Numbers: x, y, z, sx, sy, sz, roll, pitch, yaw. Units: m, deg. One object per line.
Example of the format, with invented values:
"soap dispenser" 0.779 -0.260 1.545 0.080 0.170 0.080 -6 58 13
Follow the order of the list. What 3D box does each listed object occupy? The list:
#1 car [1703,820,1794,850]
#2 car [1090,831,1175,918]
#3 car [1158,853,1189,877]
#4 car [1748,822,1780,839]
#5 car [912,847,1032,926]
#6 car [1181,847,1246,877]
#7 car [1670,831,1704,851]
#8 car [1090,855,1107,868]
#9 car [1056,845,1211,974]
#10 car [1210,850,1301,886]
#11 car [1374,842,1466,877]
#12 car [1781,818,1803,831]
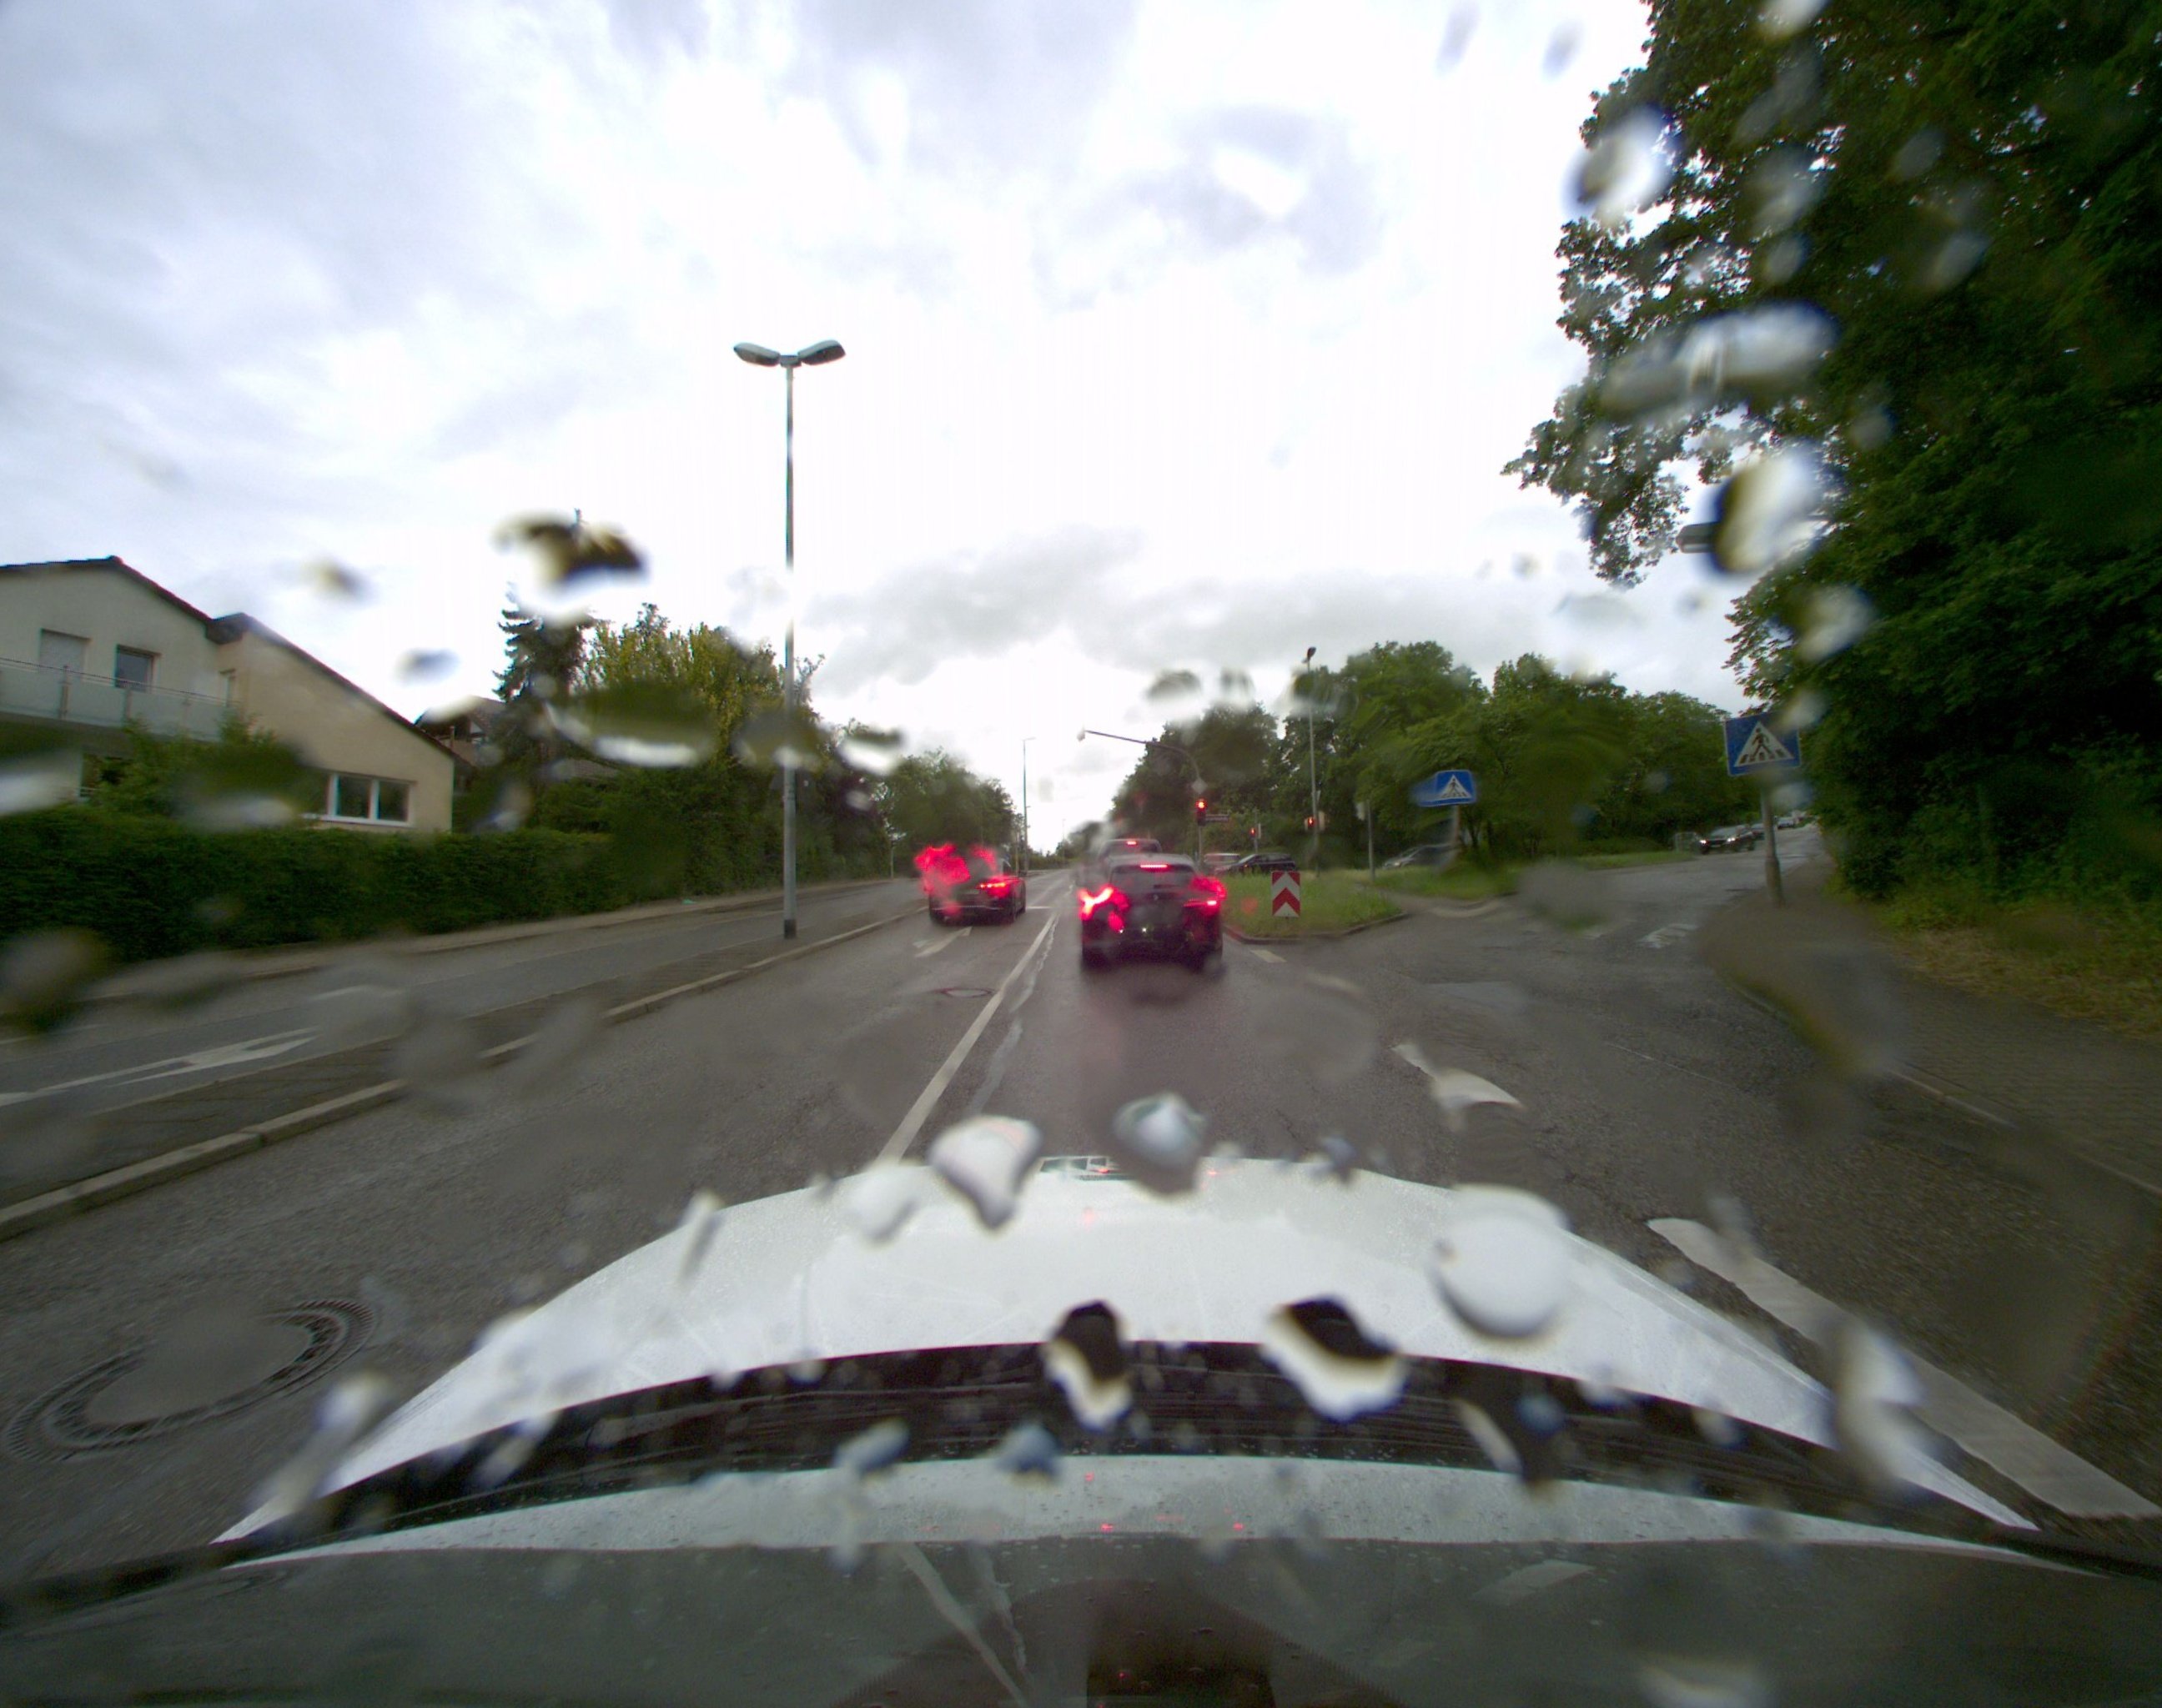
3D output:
"car" 43.058 -1.244 52.581 4.703 1.717 1.993 -2 0 -11
"car" 1.193 0.450 19.472 1.811 1.868 3.954 0 0 2
"car" 6.579 0.767 58.411 1.866 1.543 3.954 -3 -1 2
"car" 66.572 -2.253 79.323 4.318 1.450 1.881 0 -1 -44
"car" -2.383 0.690 18.978 1.986 1.527 4.330 -3 -1 2
"car" 7.417 0.454 45.705 3.482 1.427 1.707 -3 -1 8
"car" 46.292 -0.991 62.229 1.655 1.370 3.511 -2 0 43
"car" 2.281 0.944 103.050 1.986 1.624 3.954 -3 -1 2
"car" 0.853 0.709 12.224 1.889 1.551 4.621 0 -1 5
"car" 8.605 0.677 40.331 3.981 1.509 1.898 -3 0 -6
"car" 17.531 0.286 42.220 4.016 1.602 1.743 -3 0 -8
"car" 88.536 -3.660 101.428 1.971 1.446 4.321 -1 -1 40
